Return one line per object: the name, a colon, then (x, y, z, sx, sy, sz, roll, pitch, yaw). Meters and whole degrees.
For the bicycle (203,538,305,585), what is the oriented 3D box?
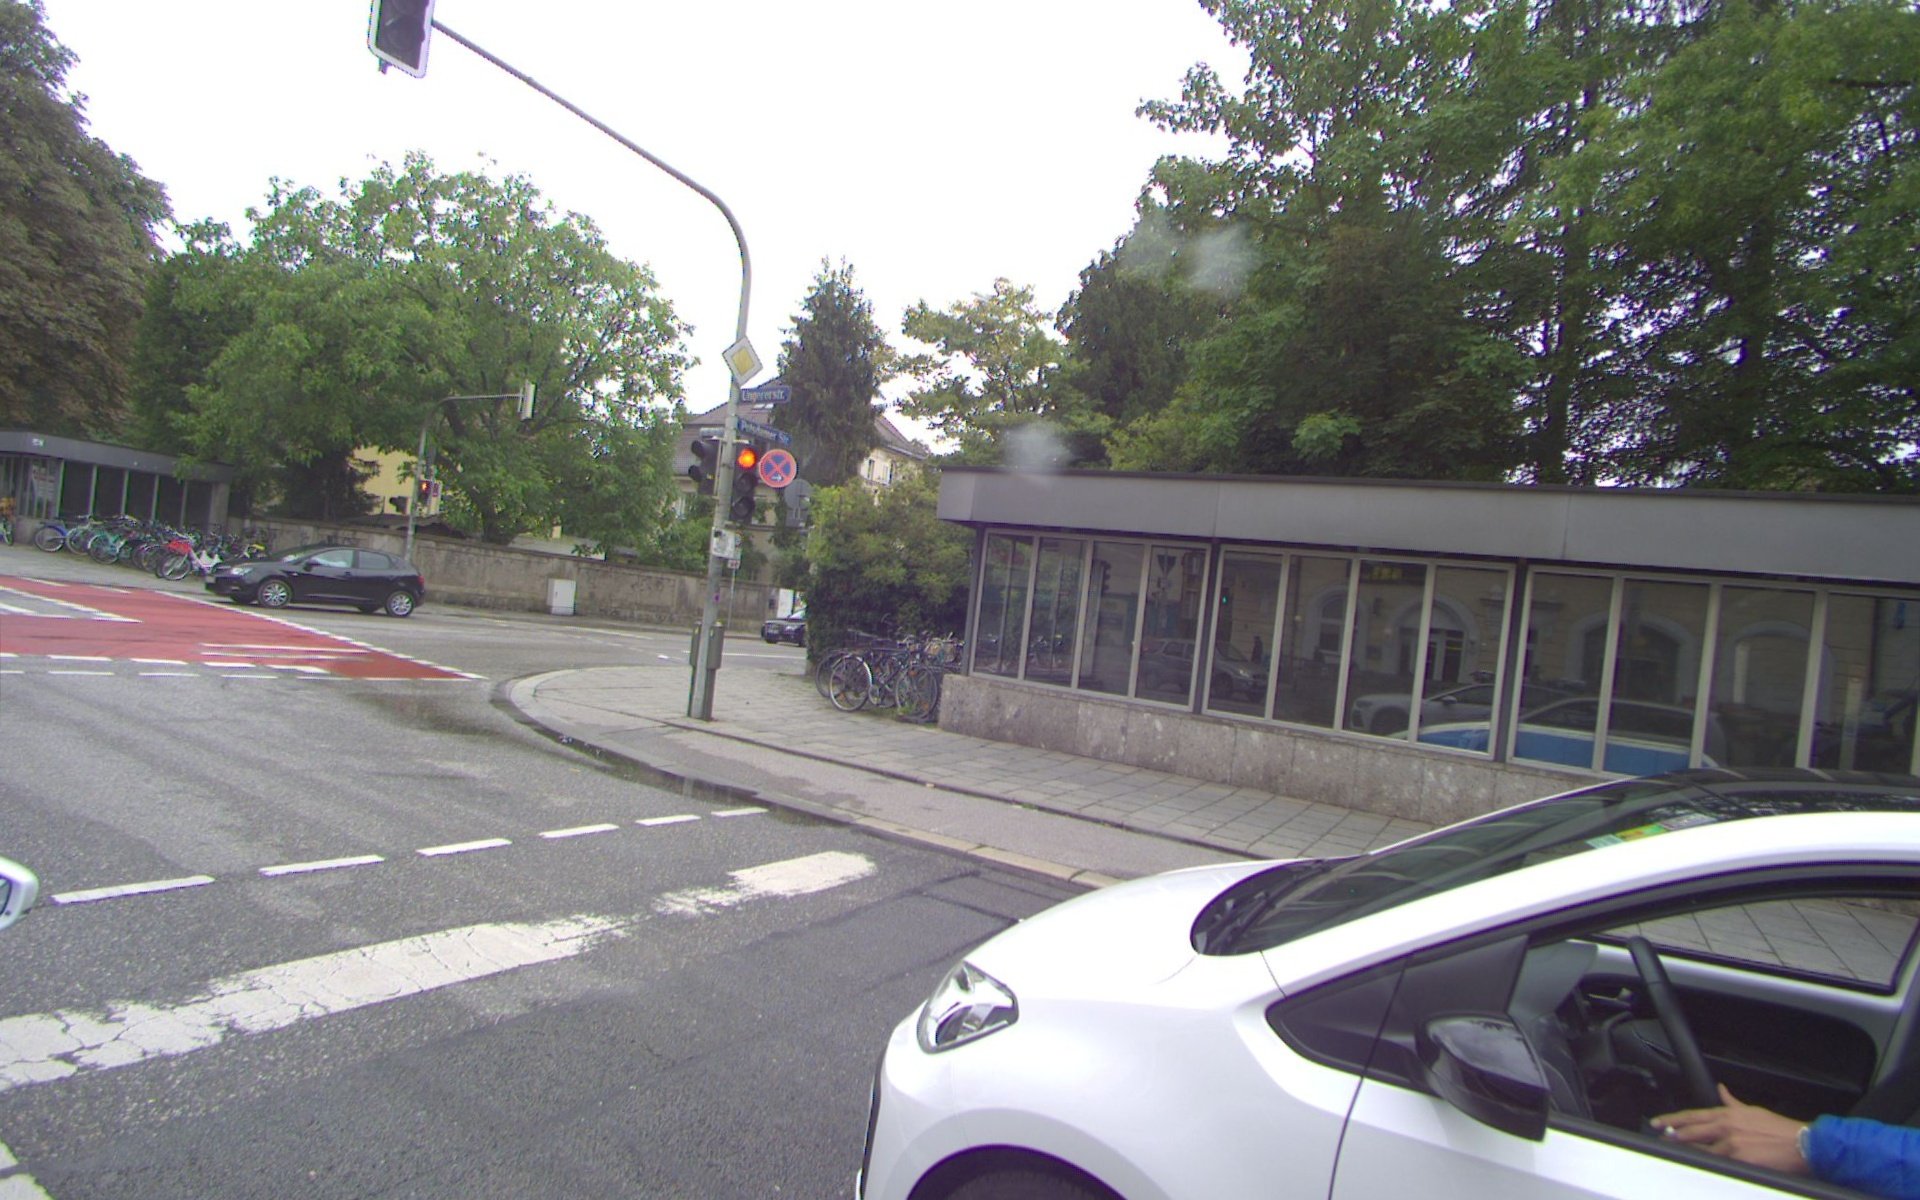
bicycle: (-19.479, -1.052, 27.809, 0.625, 1.026, 2.141, 7, -1, 39)

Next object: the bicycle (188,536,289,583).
bicycle: (-20.160, -1.129, 28.167, 0.625, 1.026, 2.141, 7, -1, 39)

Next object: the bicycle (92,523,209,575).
bicycle: (-20.382, -1.271, 25.373, 0.594, 1.026, 2.141, 7, -1, 39)

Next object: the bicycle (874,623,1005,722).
bicycle: (-0.297, 0.978, 13.778, 1.707, 1.135, 0.469, 6, 0, 32)

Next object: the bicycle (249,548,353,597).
bicycle: (-17.461, -0.726, 26.703, 0.625, 1.026, 2.141, 7, -1, 39)

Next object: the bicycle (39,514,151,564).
bicycle: (-23.006, -1.608, 26.796, 0.594, 1.026, 2.141, 7, -1, 39)

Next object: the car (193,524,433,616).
car: (-13.532, -0.585, 21.239, 1.669, 1.414, 3.838, 7, -1, 37)

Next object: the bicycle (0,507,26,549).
bicycle: (-26.306, -2.017, 27.450, 1.981, 1.027, 0.557, 7, 0, 30)

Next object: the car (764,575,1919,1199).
car: (1.575, 0.976, 1.793, 3.526, 1.581, 1.645, 7, 0, 31)

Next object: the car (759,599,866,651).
car: (-5.026, 0.890, 34.696, 1.613, 1.414, 3.691, 7, -1, 29)

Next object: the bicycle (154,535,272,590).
bicycle: (-17.915, -0.881, 24.180, 0.594, 1.026, 2.141, 7, -1, 39)

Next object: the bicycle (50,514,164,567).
bicycle: (-22.286, -1.538, 26.317, 0.594, 1.075, 2.141, 7, -1, 39)

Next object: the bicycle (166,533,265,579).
bicycle: (-21.448, -1.261, 29.031, 0.625, 1.026, 2.141, 7, -1, 39)

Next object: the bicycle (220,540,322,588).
bicycle: (-18.776, -0.970, 27.469, 0.625, 1.026, 2.141, 7, -1, 39)

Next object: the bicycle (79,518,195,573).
bicycle: (-21.006, -1.378, 25.714, 0.594, 1.099, 2.141, 7, 0, 39)

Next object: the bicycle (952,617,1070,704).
bicycle: (0.768, 0.923, 15.488, 1.707, 1.135, 0.469, 6, 0, 32)

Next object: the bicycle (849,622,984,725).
bicycle: (-0.594, 0.947, 13.280, 1.707, 1.135, 0.469, 6, 0, 32)

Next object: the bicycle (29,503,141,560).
bicycle: (-23.586, -1.832, 27.165, 0.594, 1.233, 2.141, 7, 0, 39)

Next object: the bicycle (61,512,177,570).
bicycle: (-21.682, -1.507, 25.981, 0.594, 1.192, 2.141, 7, 0, 39)

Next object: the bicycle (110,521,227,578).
bicycle: (-19.715, -1.242, 25.115, 0.594, 1.114, 2.141, 7, 0, 39)

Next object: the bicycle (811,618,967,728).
bicycle: (-0.916, 0.900, 12.709, 1.858, 1.135, 0.600, 6, 0, 32)

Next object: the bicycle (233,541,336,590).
bicycle: (-18.139, -0.903, 27.069, 0.625, 1.026, 2.141, 7, -1, 39)

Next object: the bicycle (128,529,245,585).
bicycle: (-19.112, -1.054, 24.897, 0.594, 1.084, 2.141, 7, -1, 39)

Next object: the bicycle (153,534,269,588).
bicycle: (-18.330, -0.935, 24.672, 0.625, 1.026, 2.141, 7, -1, 39)

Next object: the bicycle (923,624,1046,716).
bicycle: (0.351, 1.013, 14.841, 1.707, 1.135, 0.469, 6, 0, 32)

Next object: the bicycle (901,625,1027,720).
bicycle: (0.041, 1.010, 14.327, 1.707, 1.135, 0.469, 6, 0, 32)
